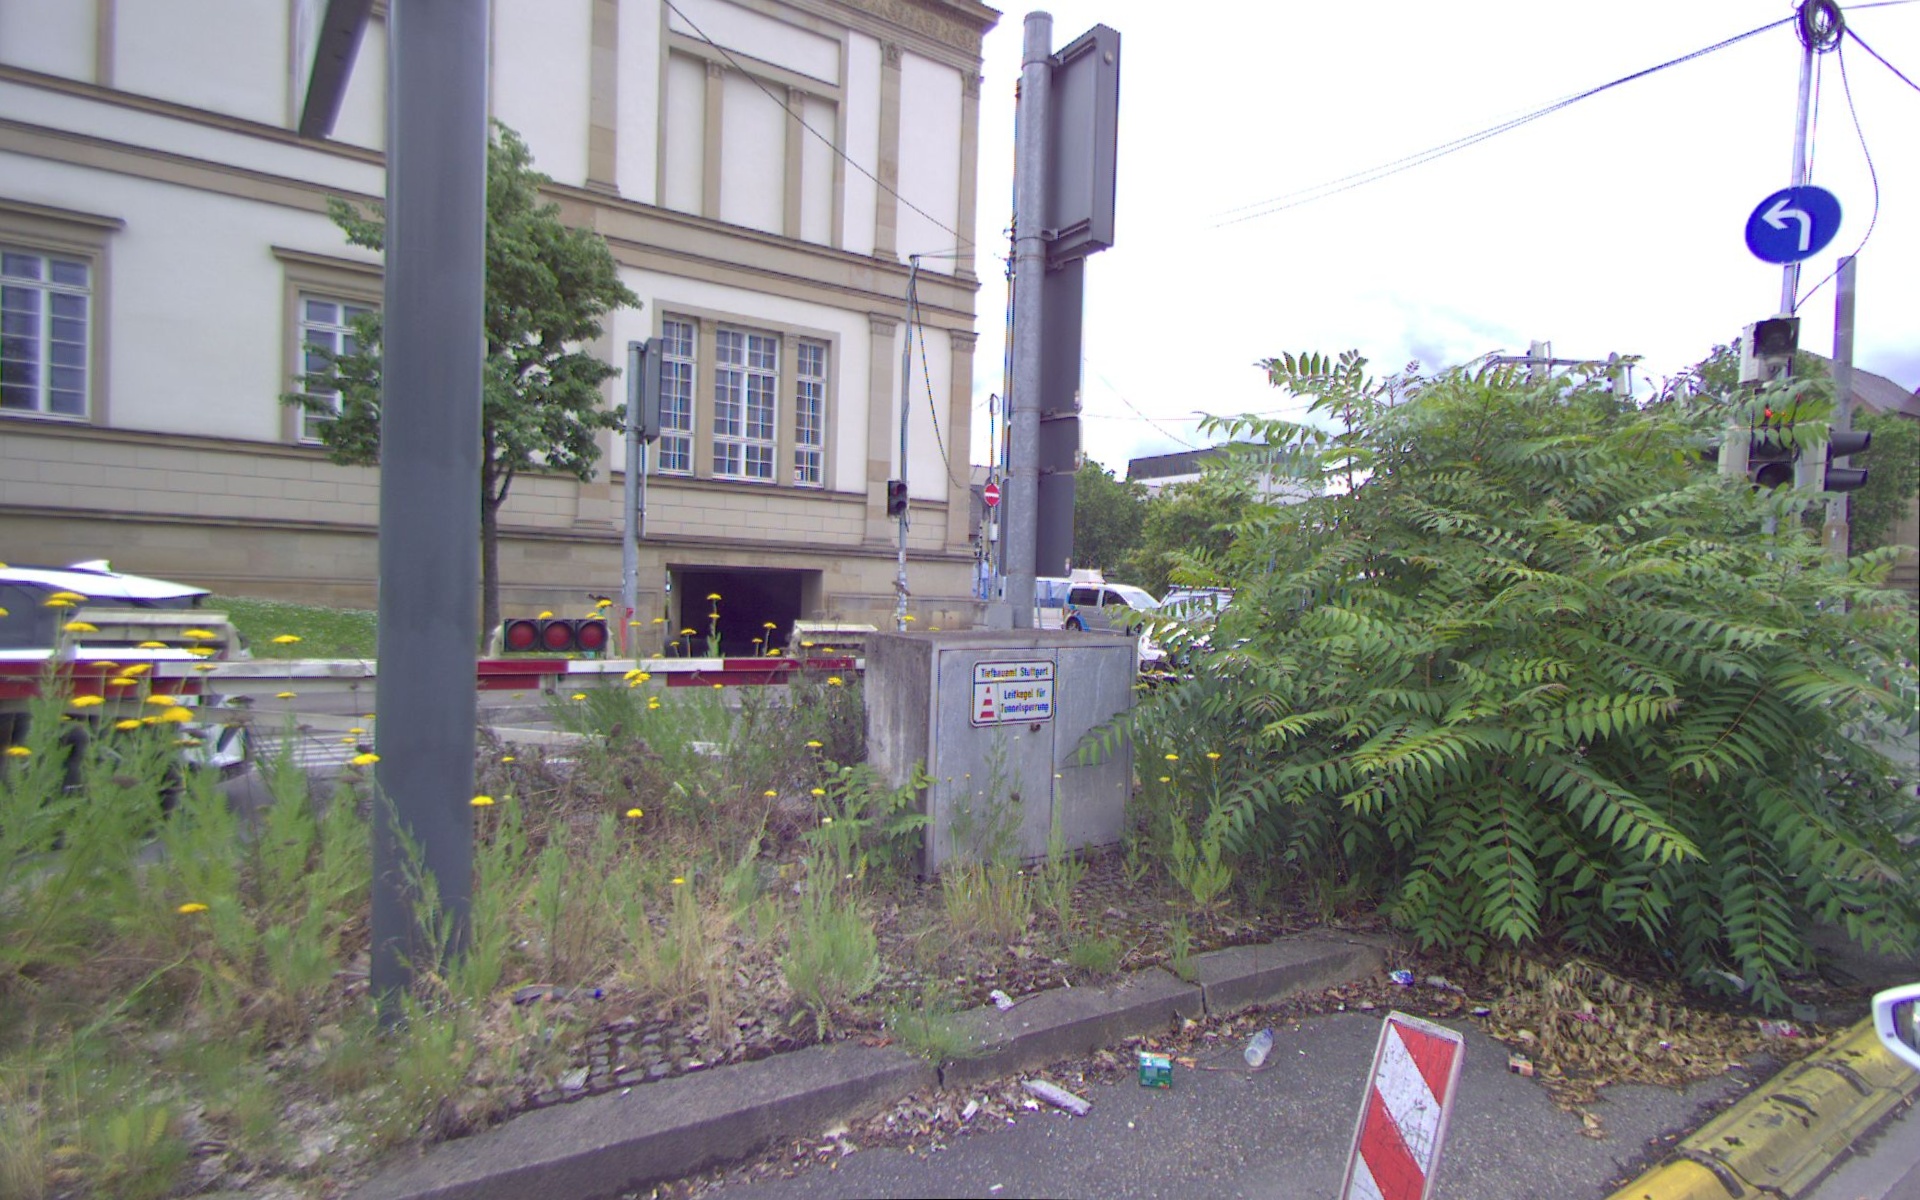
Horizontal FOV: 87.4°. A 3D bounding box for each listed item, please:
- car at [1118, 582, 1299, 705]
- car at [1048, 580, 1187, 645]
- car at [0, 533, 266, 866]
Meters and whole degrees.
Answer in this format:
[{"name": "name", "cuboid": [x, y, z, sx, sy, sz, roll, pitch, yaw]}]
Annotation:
[{"name": "car", "cuboid": [4.030, 0.592, 15.799, 1.870, 1.647, 4.102, 1, 0, 27]}, {"name": "car", "cuboid": [4.955, 0.362, 32.038, 1.815, 1.907, 4.232, 2, 0, -39]}, {"name": "car", "cuboid": [-6.273, 0.474, 5.325, 4.227, 1.714, 1.857, 2, 0, -36]}]
